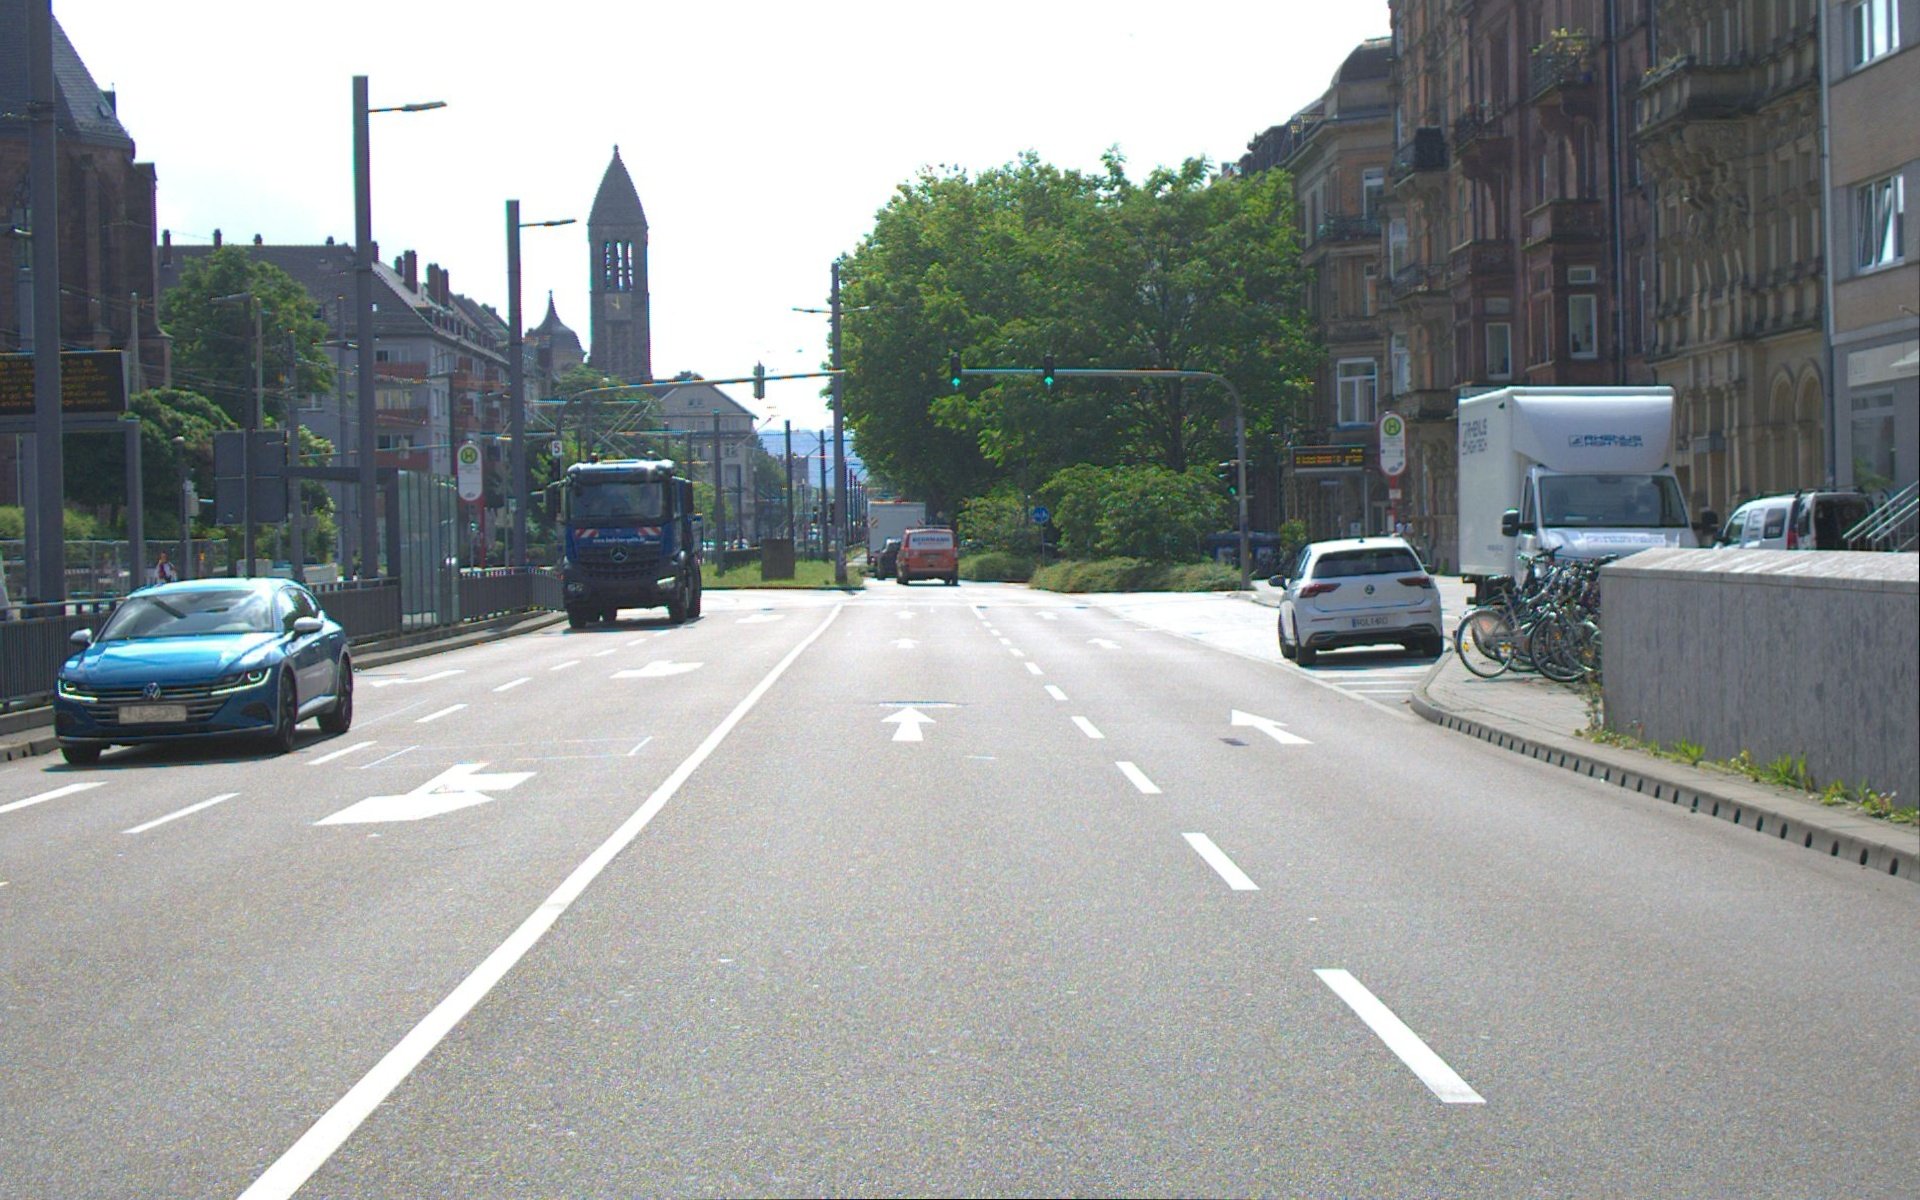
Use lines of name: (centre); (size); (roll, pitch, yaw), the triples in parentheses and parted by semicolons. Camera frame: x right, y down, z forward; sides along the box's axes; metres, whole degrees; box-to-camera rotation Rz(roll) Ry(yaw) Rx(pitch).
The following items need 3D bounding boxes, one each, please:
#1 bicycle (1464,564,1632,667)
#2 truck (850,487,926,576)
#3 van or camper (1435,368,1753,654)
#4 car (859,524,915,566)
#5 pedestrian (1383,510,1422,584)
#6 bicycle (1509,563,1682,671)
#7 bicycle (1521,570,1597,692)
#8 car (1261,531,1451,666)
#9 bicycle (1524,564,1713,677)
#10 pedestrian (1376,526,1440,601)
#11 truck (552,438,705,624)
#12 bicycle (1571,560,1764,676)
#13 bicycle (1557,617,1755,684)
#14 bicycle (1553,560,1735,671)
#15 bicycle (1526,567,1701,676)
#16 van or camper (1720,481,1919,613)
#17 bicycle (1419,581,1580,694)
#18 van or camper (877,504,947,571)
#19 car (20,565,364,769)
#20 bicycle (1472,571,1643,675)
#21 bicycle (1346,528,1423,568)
bicycle: (6.349, 0.163, 37.134); (1.758, 1.081, 0.372); (0, 2, -6)
truck: (-3.137, -2.917, 148.602); (3.169, 3.275, 7.296); (0, -4, -2)
van or camper: (8.033, -1.100, 44.546); (2.712, 3.319, 7.640); (-1, 1, 1)
car: (-2.744, -2.076, 128.243); (1.993, 1.503, 4.001); (-1, 1, -2)
pedestrian: (12.216, -1.464, 94.955); (0.886, 2.007, 0.996); (1, 0, -1)
bicycle: (6.595, 0.171, 35.705); (1.758, 1.081, 0.372); (-1, 2, -13)
bicycle: (5.608, 0.276, 32.261); (0.371, 1.067, 1.764); (0, 2, -1)
car: (4.787, -0.026, 42.092); (1.791, 1.432, 4.343); (-5, 0, 1)
bicycle: (6.374, 0.196, 33.309); (1.758, 1.081, 0.372); (0, 2, 2)
pedestrian: (7.943, -0.645, 60.979); (0.742, 1.311, 0.821); (1, 0, -39)
truck: (-6.866, -1.456, 72.065); (2.463, 3.636, 7.450); (-1, 1, 0)
bicycle: (6.743, 0.170, 32.779); (1.758, 1.081, 0.372); (0, 2, 2)
bicycle: (6.411, 0.465, 31.733); (0.636, 0.584, 1.770); (-2, 1, -41)
bicycle: (6.822, 0.147, 34.299); (1.758, 1.081, 0.372); (-1, 2, -10)
bicycle: (6.692, 0.210, 35.205); (1.758, 1.081, 0.372); (-1, 2, -13)
van or camper: (13.774, -0.848, 54.703); (1.993, 1.898, 5.298); (-3, 1, -1)
bicycle: (5.393, 0.365, 34.351); (1.596, 1.081, 0.372); (-1, 2, -20)
van or camper: (-1.624, -2.068, 115.590); (2.008, 1.908, 4.523); (1, -3, -5)
car: (-6.410, 0.501, 29.198); (1.850, 1.450, 4.555); (-2, 2, 0)
bicycle: (6.371, 0.238, 36.695); (1.758, 1.081, 0.372); (0, 2, -6)
bicycle: (12.753, -1.558, 103.263); (2.189, 1.177, 0.684); (-1, 1, -5)
